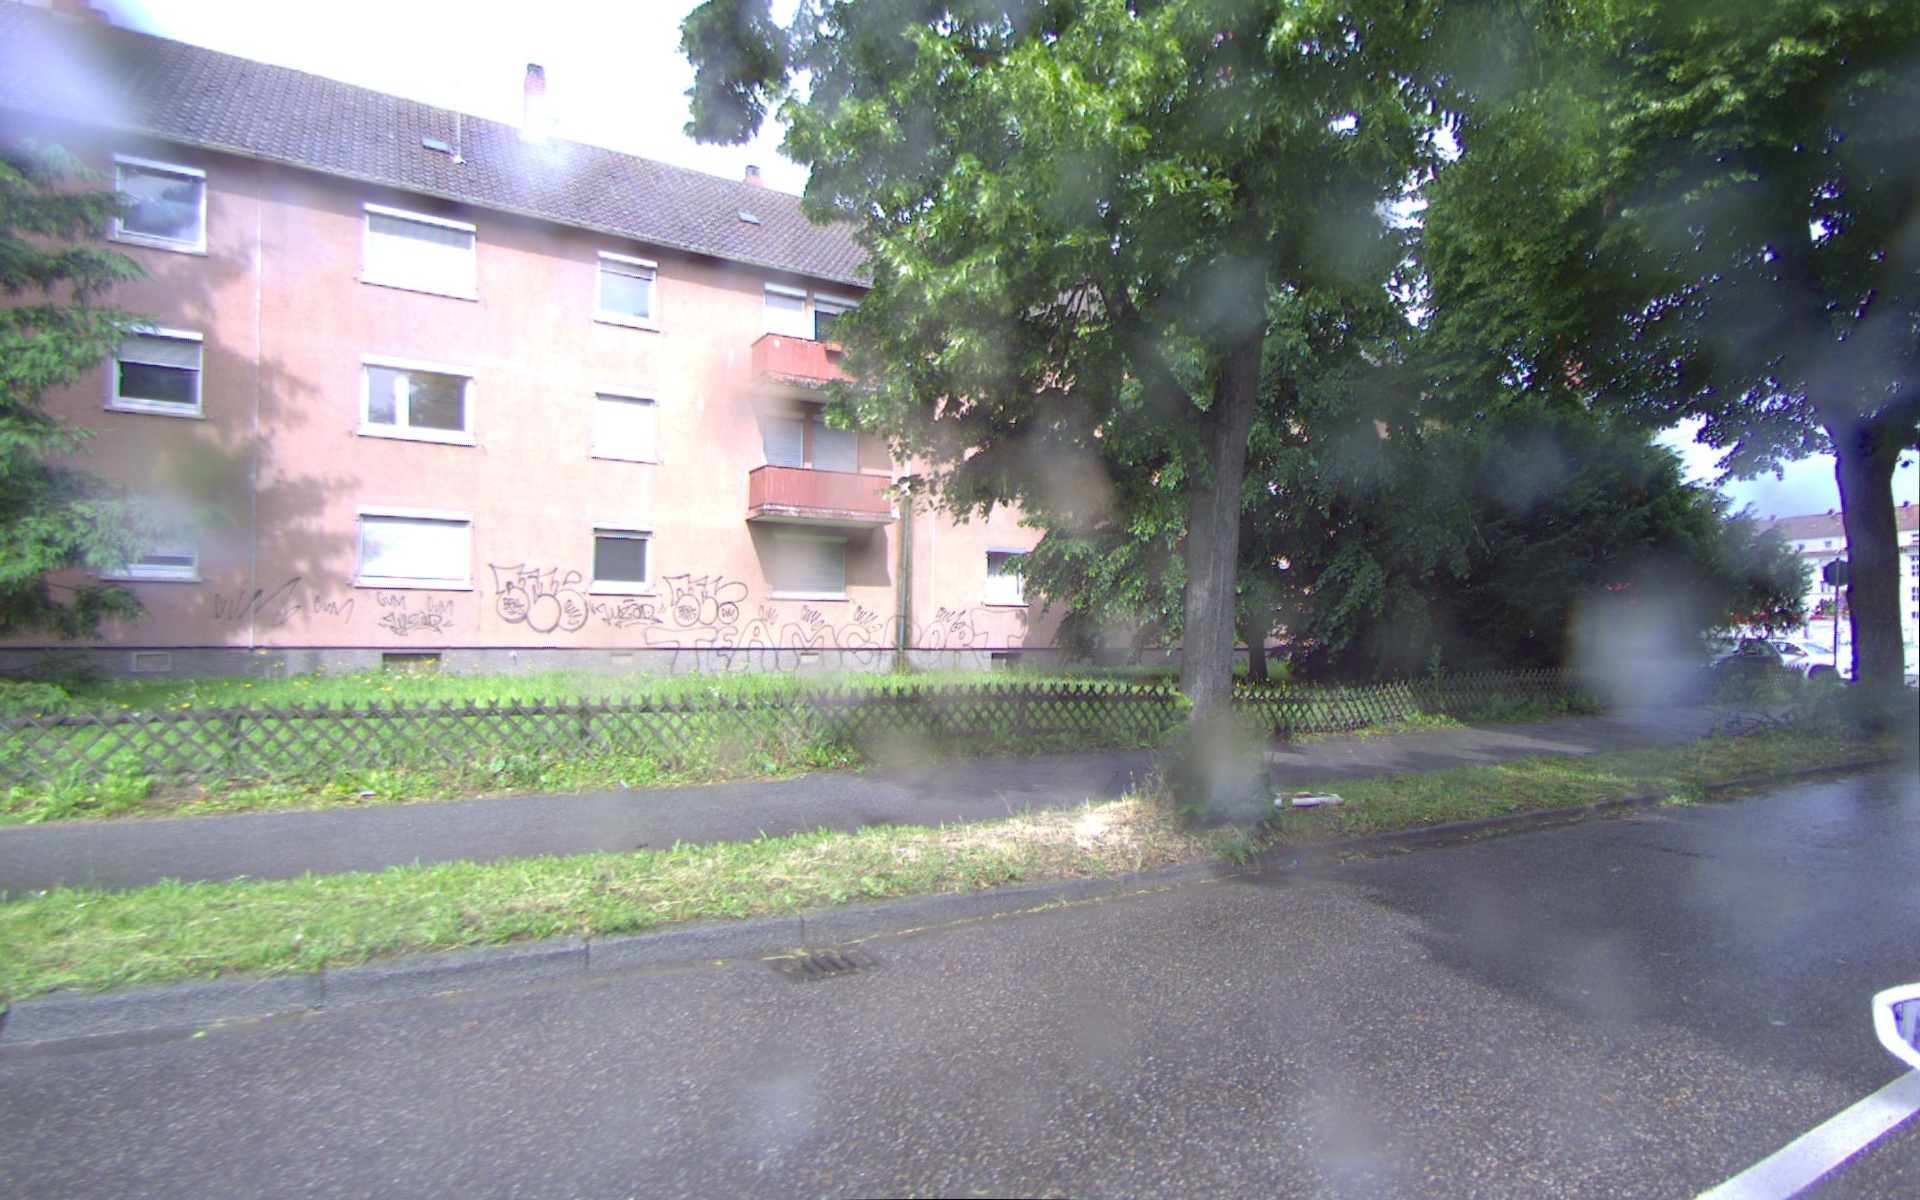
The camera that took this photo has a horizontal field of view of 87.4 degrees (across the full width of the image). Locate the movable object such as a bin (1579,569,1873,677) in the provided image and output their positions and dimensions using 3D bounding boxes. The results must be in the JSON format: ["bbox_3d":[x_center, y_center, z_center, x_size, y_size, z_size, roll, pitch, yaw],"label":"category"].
[{"bbox_3d":[32.968,0.966,43.892,3.324,4.170,9.773,1,-1,-28],"label":"movable object such as a bin"}]

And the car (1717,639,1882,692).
[{"bbox_3d":[26.185,1.992,31.469,1.711,1.554,3.602,0,-2,-19],"label":"car"}]

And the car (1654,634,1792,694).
[{"bbox_3d":[20.807,1.750,27.360,3.825,1.439,1.616,4,-1,-30],"label":"car"}]
